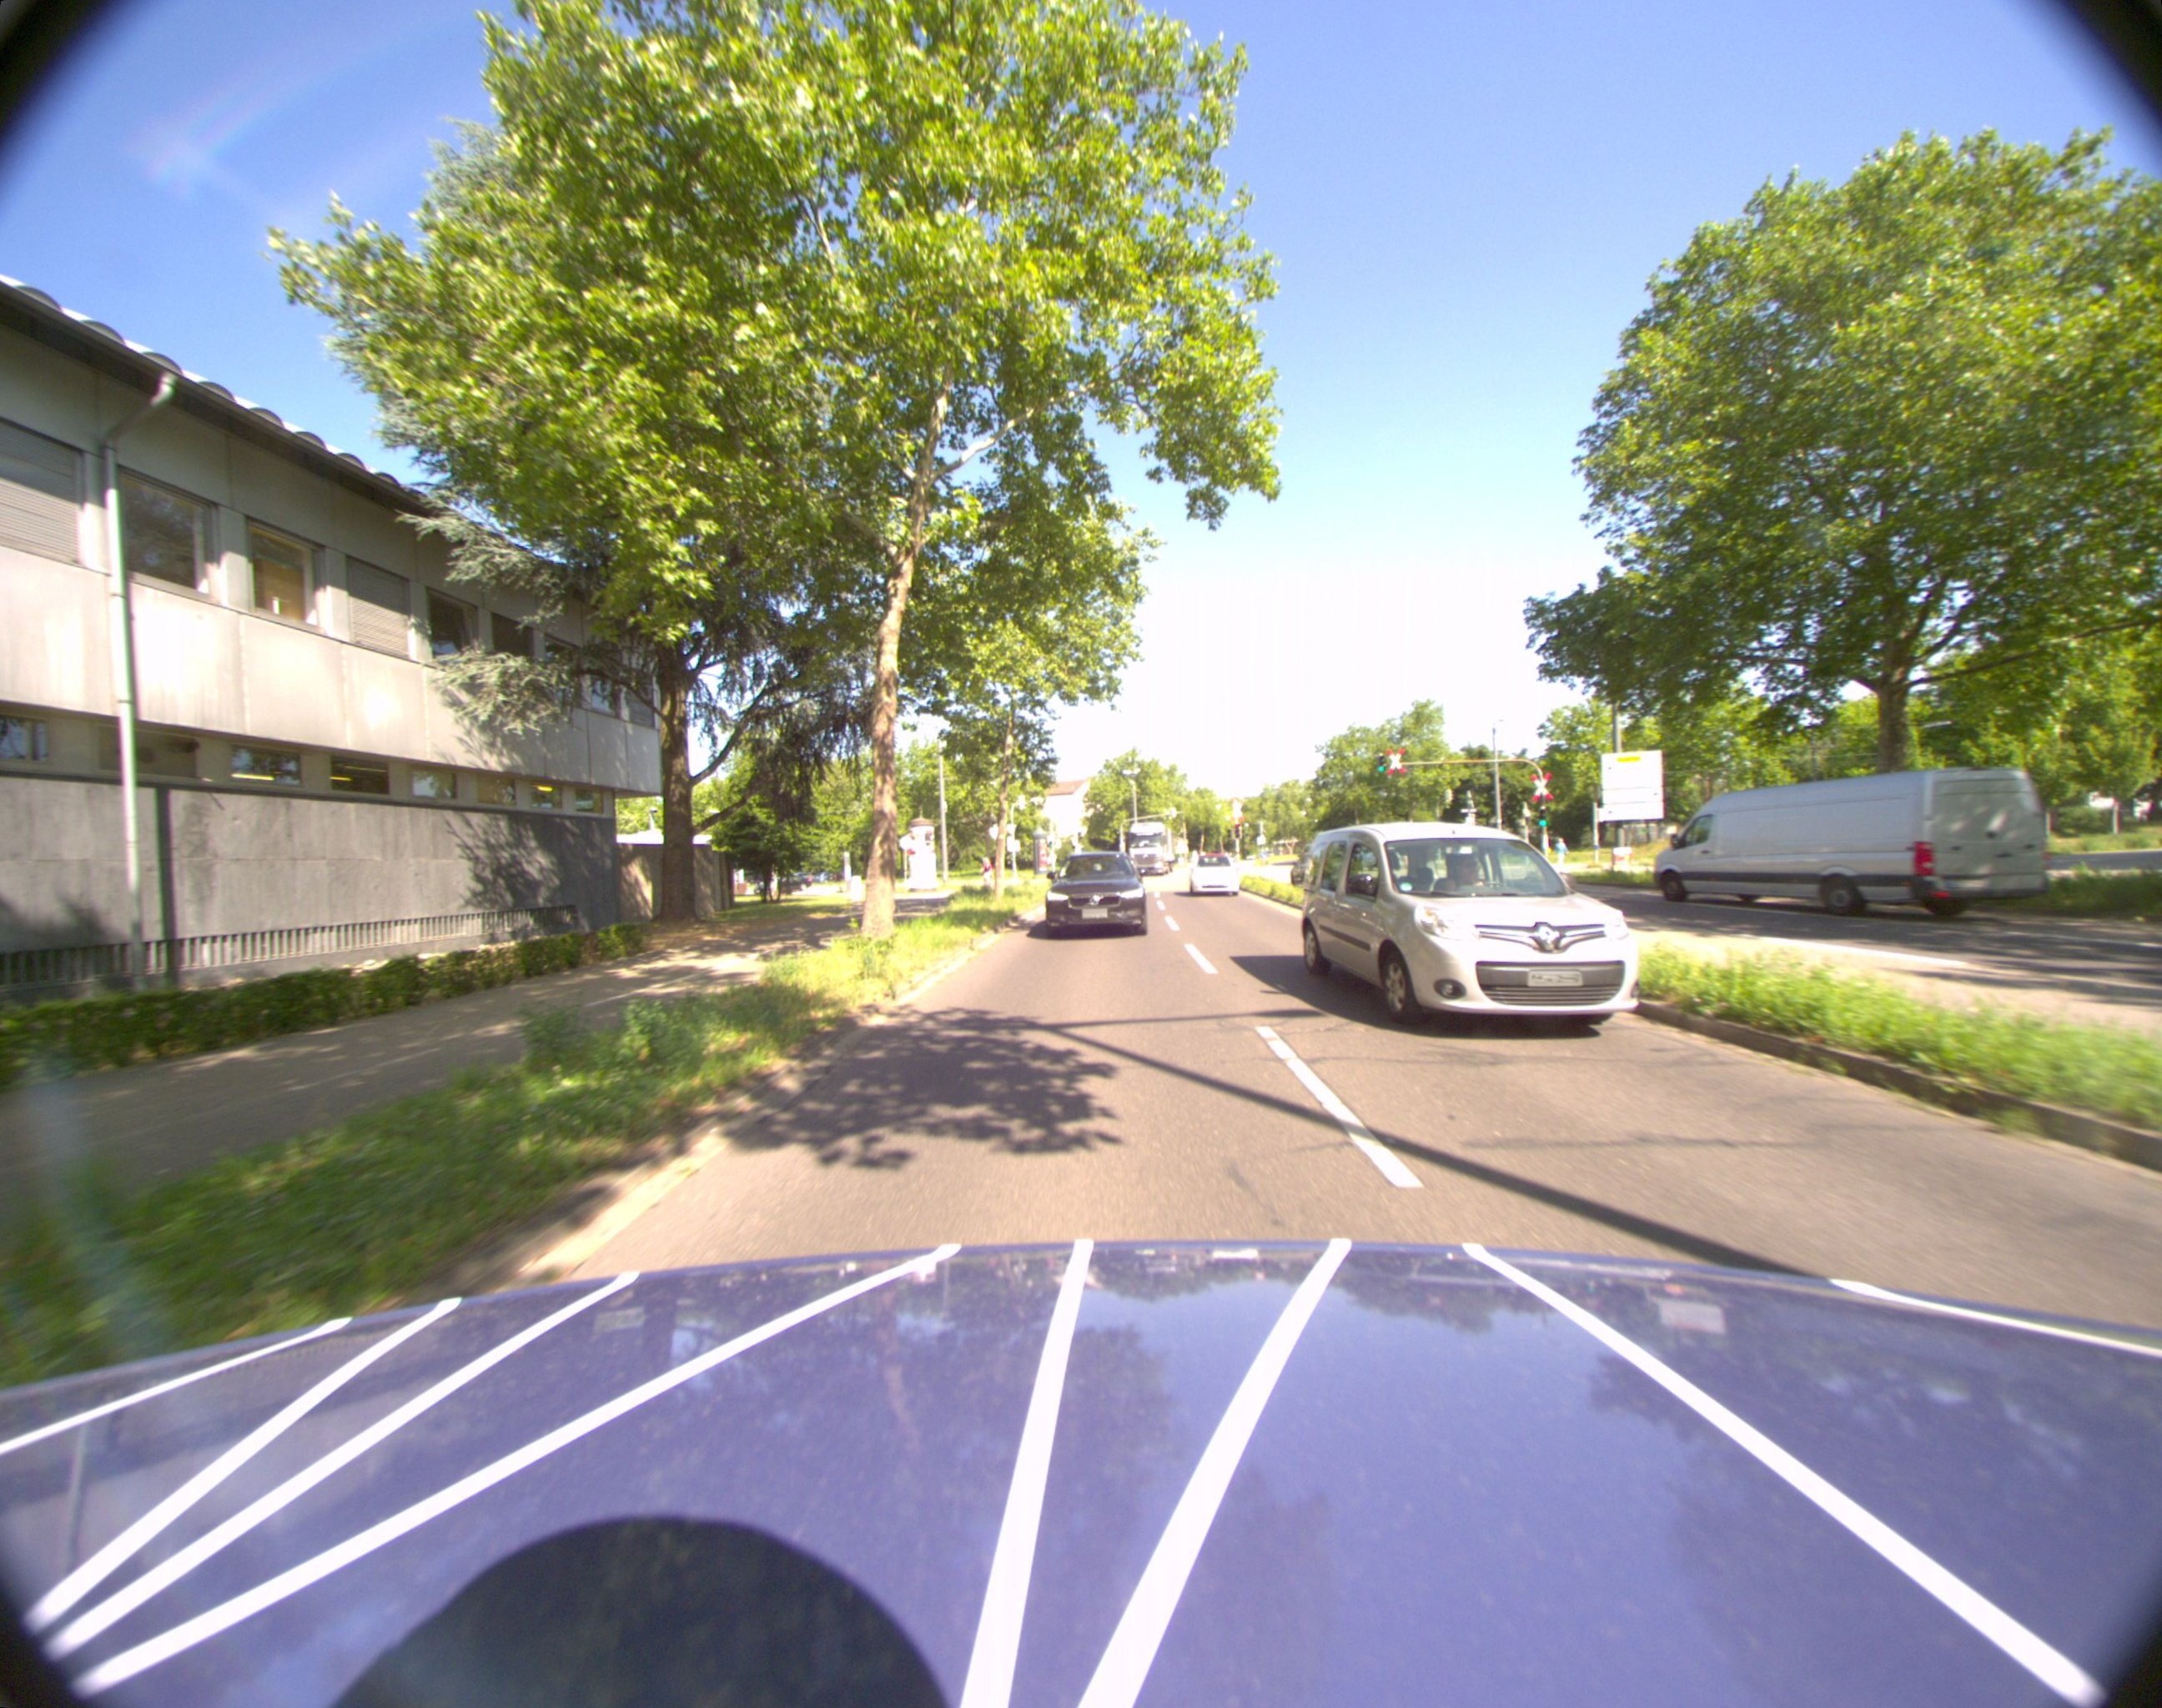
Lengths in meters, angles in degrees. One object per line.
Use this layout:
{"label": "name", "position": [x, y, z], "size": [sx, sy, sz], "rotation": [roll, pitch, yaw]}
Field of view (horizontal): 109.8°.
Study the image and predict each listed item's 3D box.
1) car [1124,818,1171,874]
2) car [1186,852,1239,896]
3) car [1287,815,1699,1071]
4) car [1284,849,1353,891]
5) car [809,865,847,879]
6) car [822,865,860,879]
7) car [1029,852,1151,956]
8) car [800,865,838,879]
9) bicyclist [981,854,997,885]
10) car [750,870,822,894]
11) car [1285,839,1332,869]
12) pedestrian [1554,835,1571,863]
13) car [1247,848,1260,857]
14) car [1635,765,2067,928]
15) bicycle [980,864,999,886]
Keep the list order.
{"label": "car", "position": [5.179, -0.589, 57.649], "size": [2.901, 3.898, 7.146], "rotation": [-2, 0, 9]}
{"label": "car", "position": [4.813, 0.683, 28.290], "size": [1.688, 1.482, 4.377], "rotation": [-1, 0, 7]}
{"label": "car", "position": [3.536, 0.641, 7.628], "size": [1.876, 1.829, 4.376], "rotation": [0, 0, 2]}
{"label": "car", "position": [9.340, 0.588, 30.179], "size": [1.697, 1.499, 4.130], "rotation": [-2, 0, 4]}
{"label": "car", "position": [-31.719, 2.223, 95.389], "size": [1.995, 1.482, 4.362], "rotation": [-2, 0, 24]}
{"label": "car", "position": [-29.772, 2.207, 94.380], "size": [1.995, 1.482, 4.361], "rotation": [-2, 1, 24]}
{"label": "car", "position": [0.317, 0.815, 14.663], "size": [1.903, 1.605, 4.874], "rotation": [-2, 0, 4]}
{"label": "car", "position": [-33.496, 2.276, 97.301], "size": [1.995, 1.482, 4.362], "rotation": [-2, 0, 24]}
{"label": "bicyclist", "position": [-5.408, 0.929, 44.796], "size": [0.702, 1.776, 0.810], "rotation": [-2, 1, 4]}
{"label": "car", "position": [-23.607, 2.217, 60.963], "size": [2.137, 1.490, 5.127], "rotation": [-2, 2, 28]}
{"label": "car", "position": [14.853, 0.005, 49.782], "size": [1.689, 1.828, 4.995], "rotation": [-1, 0, 2]}
{"label": "pedestrian", "position": [26.825, -0.282, 42.327], "size": [0.668, 1.552, 0.366], "rotation": [-2, 1, 12]}
{"label": "car", "position": [40.551, -0.359, 178.768], "size": [1.995, 2.002, 4.007], "rotation": [-2, 0, 25]}
{"label": "car", "position": [15.134, -0.144, 15.955], "size": [2.065, 2.598, 7.218], "rotation": [-1, 0, 3]}
{"label": "bicycle", "position": [-5.407, 1.224, 44.802], "size": [0.693, 1.178, 2.125], "rotation": [-2, 0, 3]}
